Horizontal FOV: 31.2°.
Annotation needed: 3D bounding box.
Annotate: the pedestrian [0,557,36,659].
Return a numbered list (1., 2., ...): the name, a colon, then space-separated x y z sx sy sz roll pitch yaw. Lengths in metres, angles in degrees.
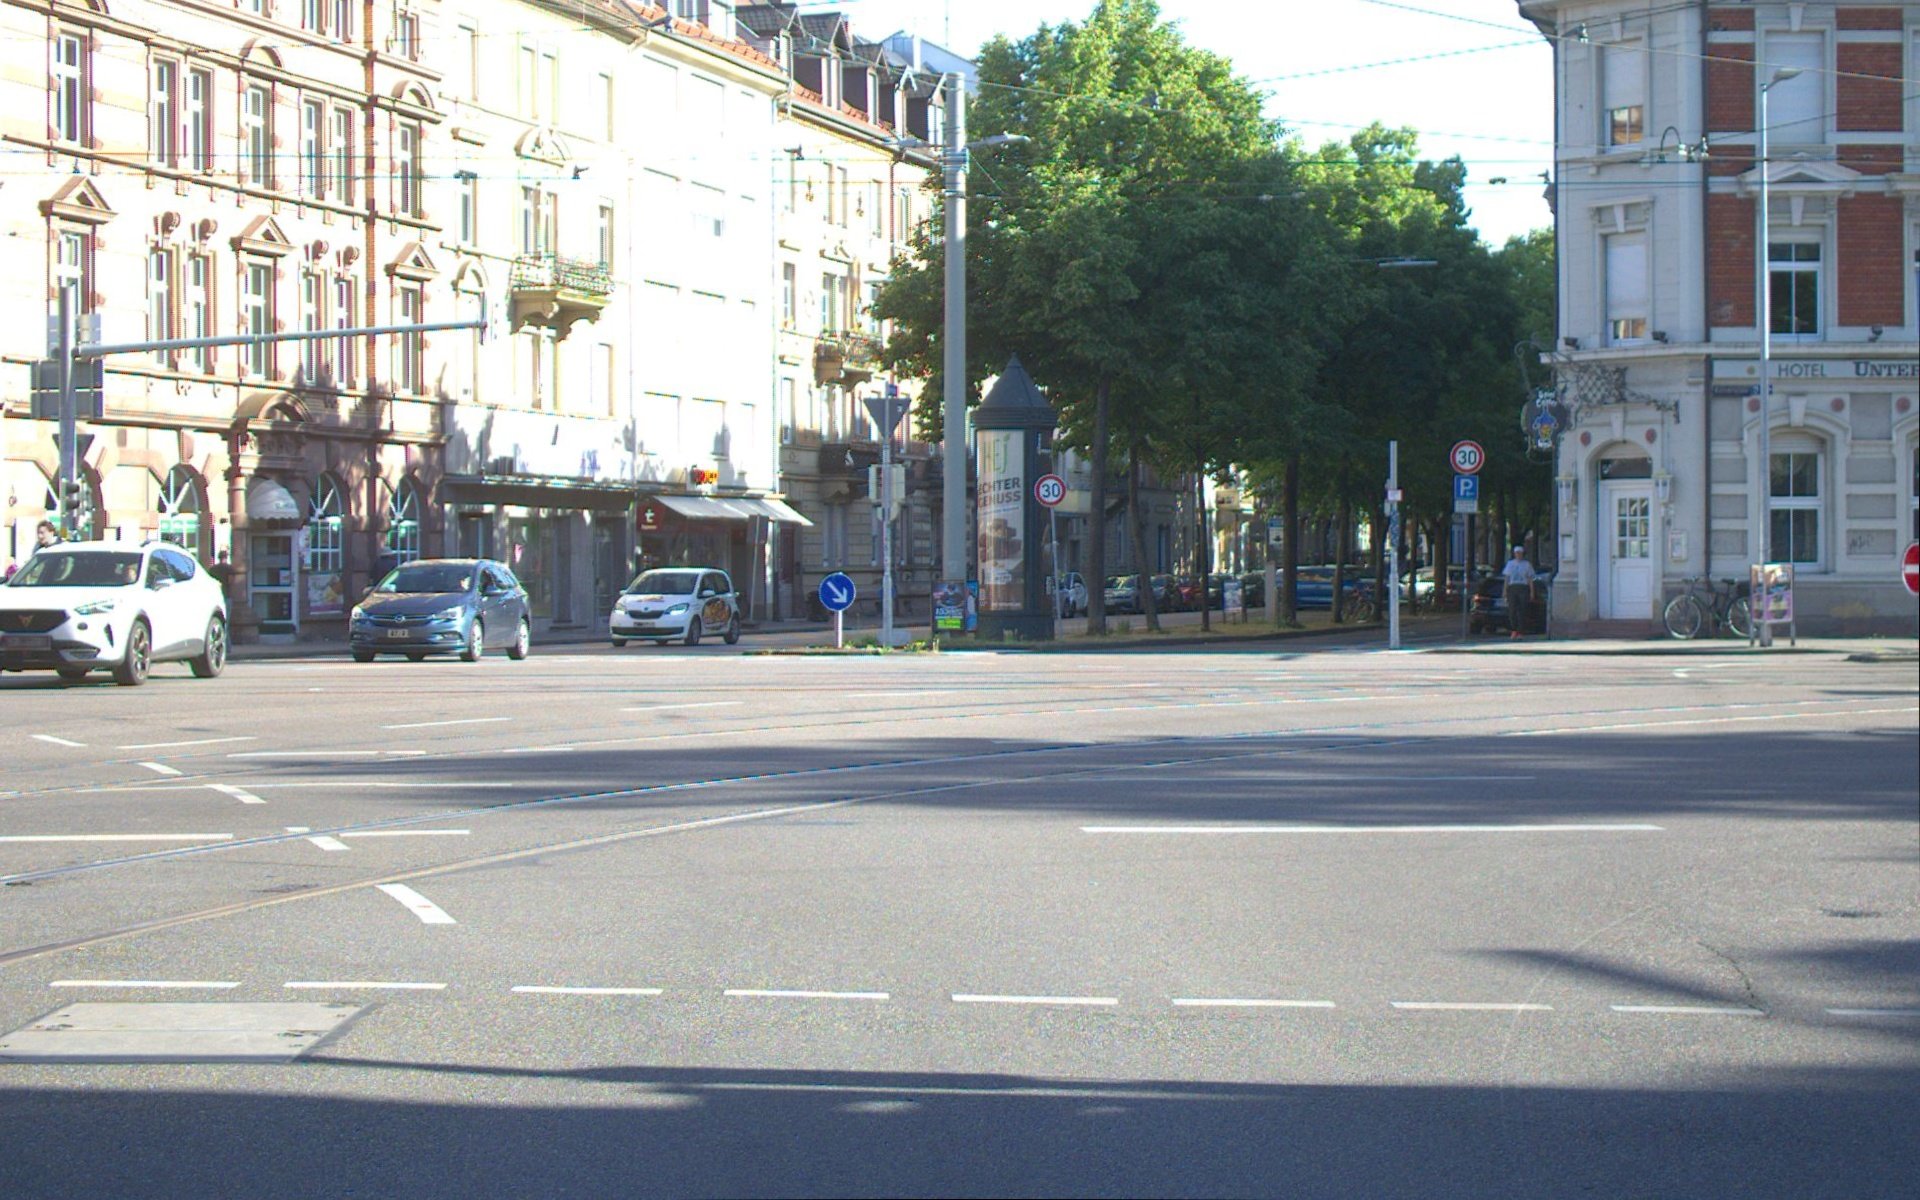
1. pedestrian: -15.432 0.125 55.730 0.675 1.636 0.578 0 1 13

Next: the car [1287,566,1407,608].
1. car: 14.448 -0.494 128.293 3.993 1.540 1.997 0 1 28

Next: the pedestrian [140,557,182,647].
1. pedestrian: -14.656 0.031 63.032 0.551 1.636 0.537 0 1 15

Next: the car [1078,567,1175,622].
1. car: 4.741 -0.169 97.334 1.995 1.492 4.031 0 1 14

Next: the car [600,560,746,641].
1. car: -5.441 -0.012 65.528 1.719 1.492 3.581 0 1 14

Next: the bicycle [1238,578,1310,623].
1. bicycle: 7.550 0.005 82.746 0.582 1.063 1.949 -1 1 -37

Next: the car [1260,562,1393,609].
1. car: 12.325 -0.486 115.652 3.993 1.540 1.997 0 1 28

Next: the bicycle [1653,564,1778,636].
1. bicycle: 12.555 -0.001 57.164 1.961 1.186 0.546 0 1 5

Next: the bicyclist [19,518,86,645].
1. bicyclist: -11.257 -0.239 42.618 0.714 1.554 0.987 0 1 -20

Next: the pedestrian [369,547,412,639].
1. pedestrian: -11.831 -0.156 71.420 0.682 1.902 0.632 0 1 16

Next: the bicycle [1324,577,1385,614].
1. bicycle: 11.381 -0.132 99.238 0.582 1.063 1.949 -1 1 -37

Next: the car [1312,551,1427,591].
1. car: 16.003 -1.118 134.362 3.993 1.540 1.997 0 1 28

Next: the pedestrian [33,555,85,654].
1. pedestrian: -14.984 0.064 57.188 0.631 1.636 0.552 0 1 13

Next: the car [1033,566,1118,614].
1. car: 3.812 -0.338 112.862 1.995 1.492 4.031 0 1 14

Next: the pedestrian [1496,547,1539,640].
1. pedestrian: 10.157 -0.124 62.624 0.716 1.664 0.939 0 1 12

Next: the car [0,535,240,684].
1. car: -9.257 0.058 36.596 1.994 1.492 4.347 0 1 4

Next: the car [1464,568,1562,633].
1. car: 13.272 -0.003 82.403 1.995 1.492 4.031 0 1 14

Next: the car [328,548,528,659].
1. car: -7.539 0.018 49.157 1.774 1.492 4.572 0 1 5

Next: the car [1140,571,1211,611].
1. car: 8.279 -0.355 131.789 1.995 1.492 4.031 0 1 14

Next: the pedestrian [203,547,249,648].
1. pedestrian: -13.431 -0.045 62.904 0.580 1.830 0.632 0 1 16

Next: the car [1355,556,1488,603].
1. car: 15.650 -0.696 116.521 3.994 1.540 1.997 0 1 31

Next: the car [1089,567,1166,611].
1. car: 5.982 -0.402 122.585 1.995 1.492 4.031 0 1 14

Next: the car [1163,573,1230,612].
1. car: 9.418 -0.313 136.520 1.995 1.492 4.031 0 1 14

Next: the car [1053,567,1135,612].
1. car: 4.589 -0.372 117.349 1.995 1.492 4.031 0 1 14
